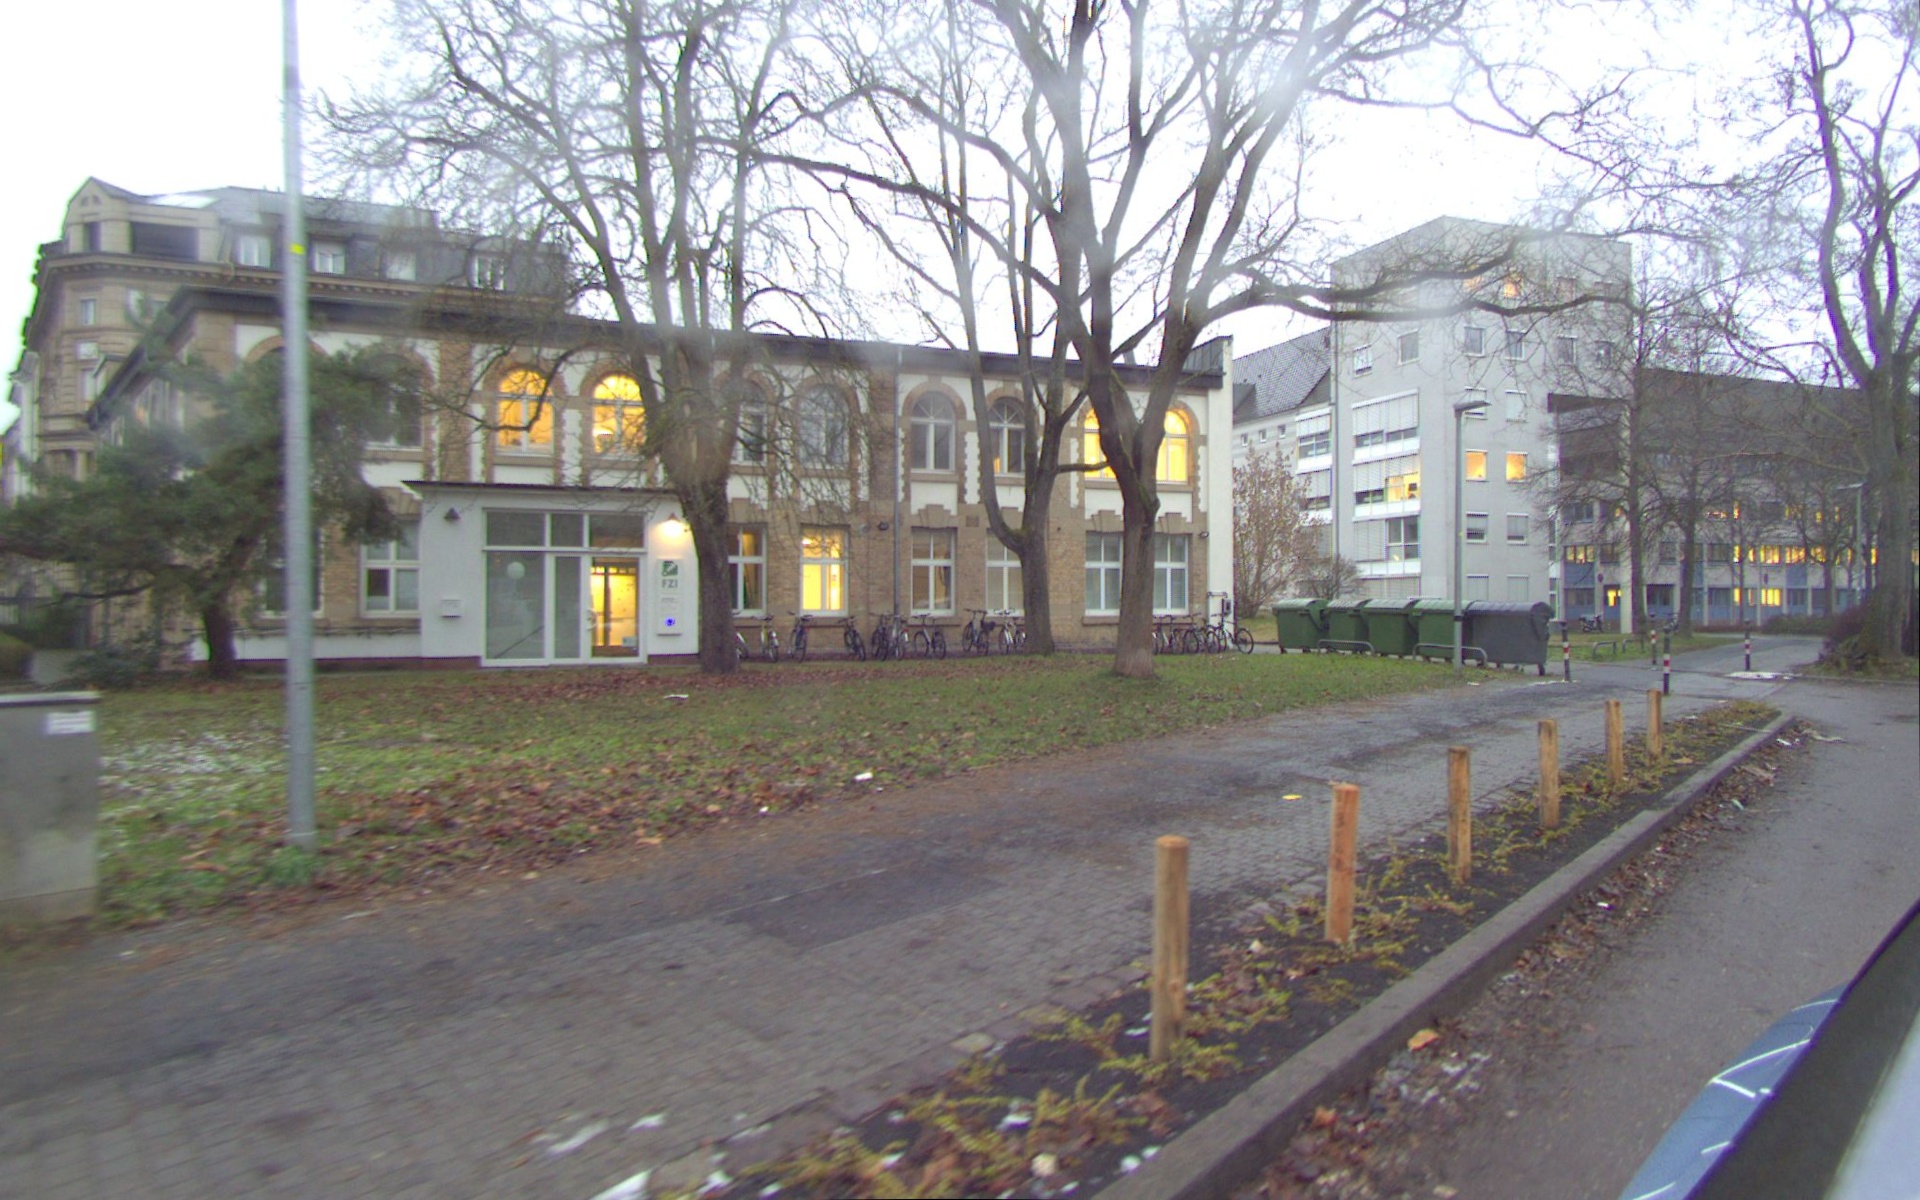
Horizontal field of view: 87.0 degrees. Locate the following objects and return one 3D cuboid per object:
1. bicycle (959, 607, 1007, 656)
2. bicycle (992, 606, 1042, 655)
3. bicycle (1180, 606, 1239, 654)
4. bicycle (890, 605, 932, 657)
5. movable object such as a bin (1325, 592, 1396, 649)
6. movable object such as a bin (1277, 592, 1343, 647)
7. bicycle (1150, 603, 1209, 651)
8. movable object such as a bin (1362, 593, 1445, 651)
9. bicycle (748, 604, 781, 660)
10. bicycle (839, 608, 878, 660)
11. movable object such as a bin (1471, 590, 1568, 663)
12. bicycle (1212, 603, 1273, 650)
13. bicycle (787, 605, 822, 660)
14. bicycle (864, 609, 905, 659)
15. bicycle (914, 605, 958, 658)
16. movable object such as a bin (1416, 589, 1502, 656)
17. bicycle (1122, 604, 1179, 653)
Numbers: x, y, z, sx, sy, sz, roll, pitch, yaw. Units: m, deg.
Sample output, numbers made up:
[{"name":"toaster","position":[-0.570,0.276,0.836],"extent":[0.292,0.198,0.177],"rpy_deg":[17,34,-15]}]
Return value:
[{"name":"bicycle","position":[0.541,0.751,24.786],"extent":[0.561,1.106,2.146],"rpy_deg":[0,1,-15]},{"name":"bicycle","position":[1.388,0.731,25.071],"extent":[0.561,1.124,2.146],"rpy_deg":[0,0,-15]},{"name":"bicycle","position":[6.596,0.776,26.874],"extent":[0.561,1.171,2.146],"rpy_deg":[0,0,-15]},{"name":"bicycle","position":[-1.188,0.714,24.203],"extent":[0.561,1.171,2.146],"rpy_deg":[0,0,-15]},{"name":"movable object such as a bin","position":[9.470,0.465,23.972],"extent":[0.967,1.296,1.254],"rpy_deg":[0,0,-22]},{"name":"movable object such as a bin","position":[8.702,0.464,25.194],"extent":[0.967,1.330,1.266],"rpy_deg":[0,0,-22]},{"name":"bicycle","position":[5.711,0.667,26.464],"extent":[0.561,1.171,2.146],"rpy_deg":[0,0,-15]},{"name":"movable object such as a bin","position":[9.893,0.470,22.634],"extent":[0.967,1.240,1.441],"rpy_deg":[0,0,-22]},{"name":"bicycle","position":[-4.466,0.698,23.048],"extent":[0.561,1.171,2.146],"rpy_deg":[0,0,-15]},{"name":"bicycle","position":[-2.418,0.777,23.846],"extent":[0.561,1.063,2.147],"rpy_deg":[0,2,-15]},{"name":"movable object such as a bin","position":[10.943,0.496,19.824],"extent":[1.043,1.333,1.324],"rpy_deg":[-1,2,-35]},{"name":"bicycle","position":[7.535,0.685,27.079],"extent":[0.561,1.171,2.146],"rpy_deg":[0,0,-15]},{"name":"bicycle","position":[-3.592,0.724,23.304],"extent":[0.561,1.171,2.146],"rpy_deg":[0,0,-15]},{"name":"bicycle","position":[-1.808,0.779,24.035],"extent":[0.561,1.029,2.147],"rpy_deg":[0,2,-15]},{"name":"bicycle","position":[-0.606,0.728,24.380],"extent":[0.561,1.171,2.146],"rpy_deg":[0,0,-15]},{"name":"movable object such as a bin","position":[10.406,0.442,21.149],"extent":[0.967,1.330,1.310],"rpy_deg":[0,0,-22]},{"name":"bicycle","position":[4.890,0.706,26.172],"extent":[0.561,1.171,2.146],"rpy_deg":[0,0,-15]}]
